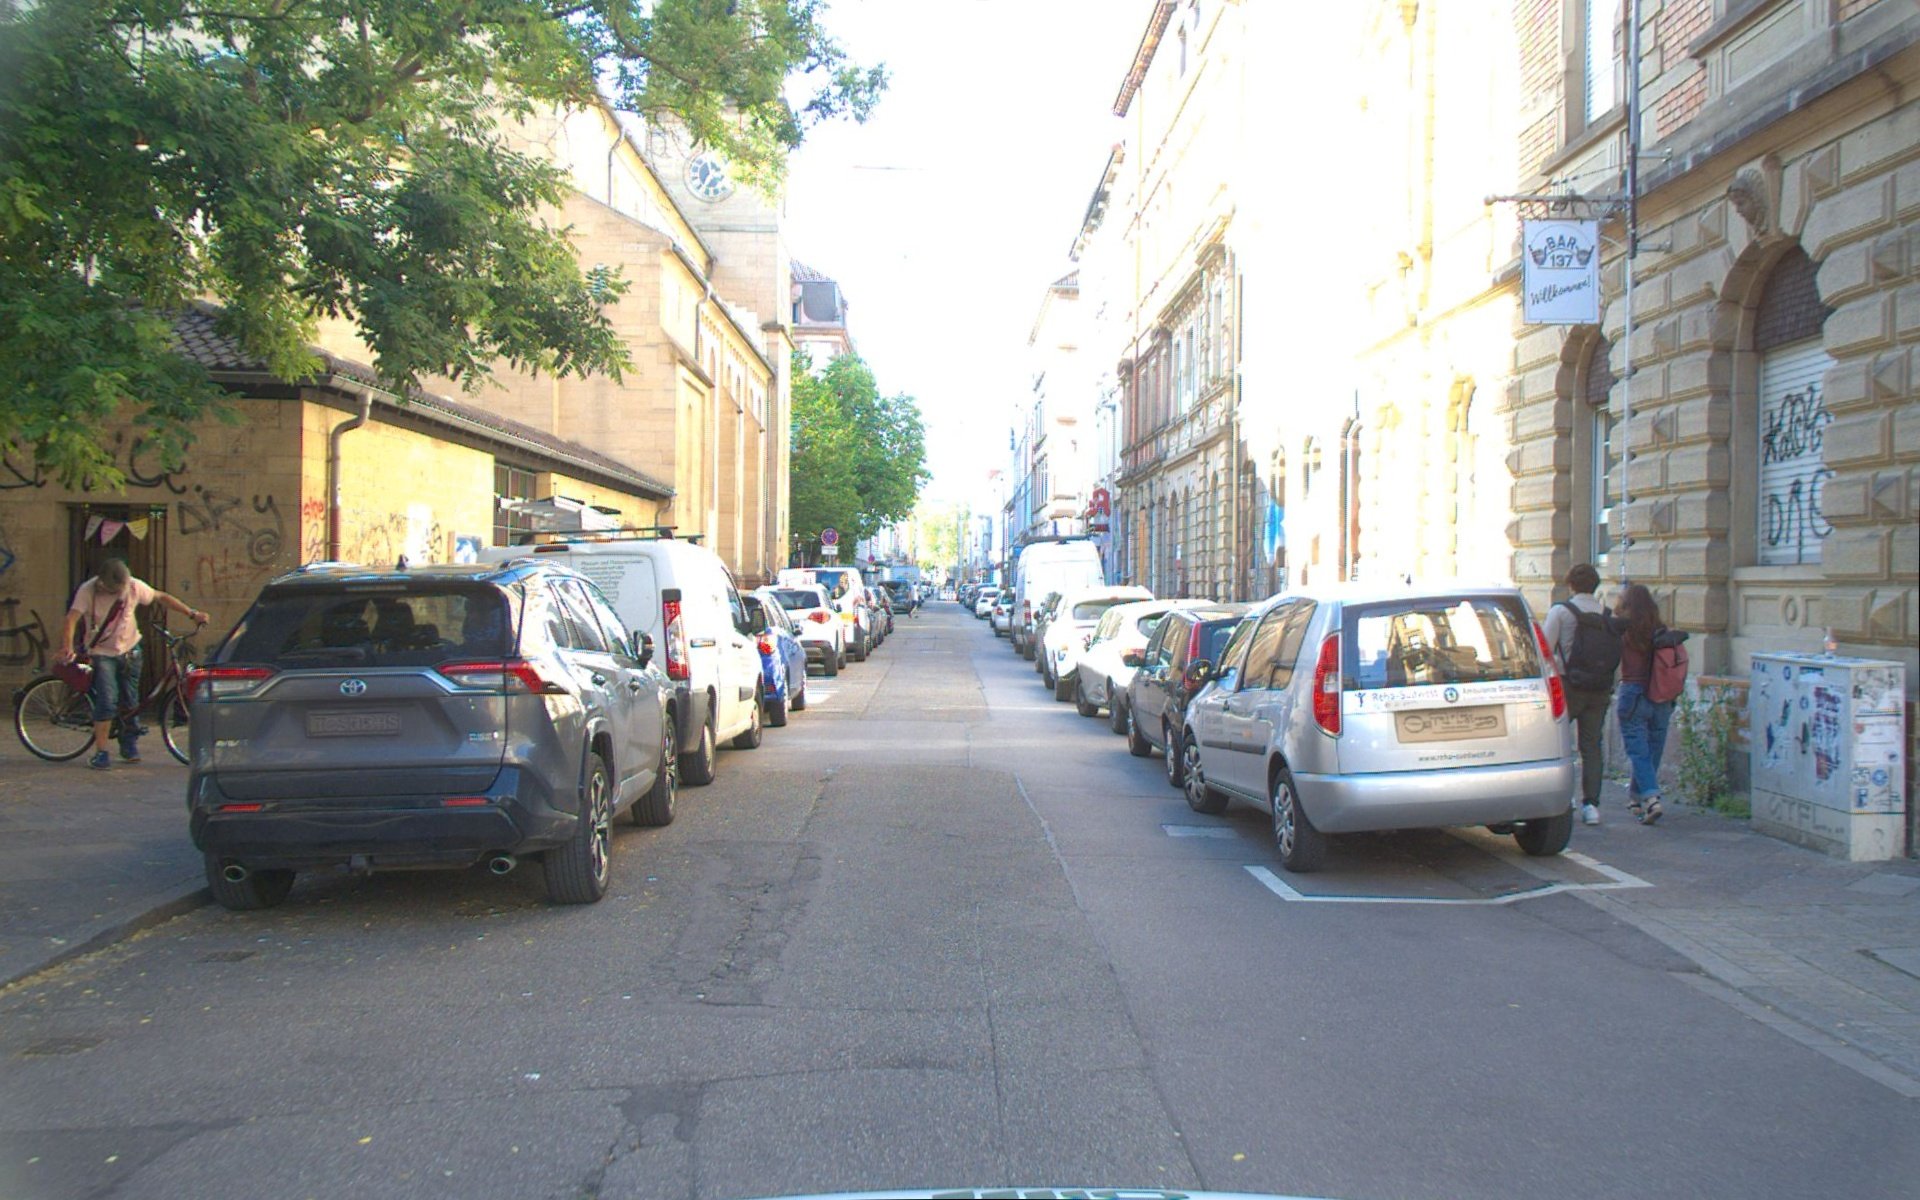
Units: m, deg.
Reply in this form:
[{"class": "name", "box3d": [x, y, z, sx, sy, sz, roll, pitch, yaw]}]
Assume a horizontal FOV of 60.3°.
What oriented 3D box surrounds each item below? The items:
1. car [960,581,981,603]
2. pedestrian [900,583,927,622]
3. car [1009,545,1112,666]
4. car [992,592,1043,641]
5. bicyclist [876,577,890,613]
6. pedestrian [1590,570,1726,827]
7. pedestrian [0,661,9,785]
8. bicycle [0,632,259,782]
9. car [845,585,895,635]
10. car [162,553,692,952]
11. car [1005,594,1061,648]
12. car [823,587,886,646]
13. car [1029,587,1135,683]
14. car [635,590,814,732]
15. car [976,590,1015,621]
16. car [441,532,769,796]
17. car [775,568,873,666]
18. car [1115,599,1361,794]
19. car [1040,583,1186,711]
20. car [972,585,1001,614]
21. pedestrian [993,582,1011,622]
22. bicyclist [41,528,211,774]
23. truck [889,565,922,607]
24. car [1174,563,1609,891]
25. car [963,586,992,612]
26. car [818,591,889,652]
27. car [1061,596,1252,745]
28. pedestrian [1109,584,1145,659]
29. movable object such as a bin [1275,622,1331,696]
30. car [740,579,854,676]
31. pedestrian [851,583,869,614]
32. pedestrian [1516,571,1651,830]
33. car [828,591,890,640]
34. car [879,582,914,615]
[{"class": "car", "box3d": [1.021, -0.775, 161.070, 1.953, 2.049, 4.000, 1, 0, 0]}, {"class": "pedestrian", "box3d": [-2.309, 0.117, 82.146, 1.004, 1.875, 0.772, 2, 0, -45]}, {"class": "car", "box3d": [2.347, 0.084, 40.125, 2.026, 2.656, 5.887, 2, 1, 0]}, {"class": "car", "box3d": [1.916, 0.520, 56.097, 1.571, 1.531, 4.000, 3, 0, 1]}, {"class": "bicyclist", "box3d": [-3.743, -0.225, 80.213, 0.593, 1.717, 0.885, 1, 0, -1]}, {"class": "pedestrian", "box3d": [4.619, 0.624, 10.979, 0.562, 1.650, 0.734, 0, 1, -3]}, {"class": "pedestrian", "box3d": [-6.718, 0.811, 10.692, 0.904, 0.792, 0.697, 1, 0, -25]}, {"class": "bicycle", "box3d": [-6.381, 0.789, 12.551, 1.724, 0.939, 0.827, 4, 1, 8]}, {"class": "car", "box3d": [-3.072, 0.330, 57.198, 1.567, 1.642, 3.807, -1, 0, -1]}, {"class": "car", "box3d": [-2.608, 0.632, 9.180, 1.706, 1.675, 4.287, 1, 0, -3]}, {"class": "car", "box3d": [2.224, 0.610, 51.255, 1.537, 1.521, 3.653, 3, 0, 0]}, {"class": "car", "box3d": [-2.956, 0.438, 46.977, 1.639, 1.586, 3.999, 0, 0, -1]}, {"class": "car", "box3d": [2.261, 0.607, 31.542, 1.653, 1.671, 3.924, 1, 0, -1]}, {"class": "car", "box3d": [-2.724, 0.651, 19.896, 1.653, 1.502, 3.859, -1, 1, -1]}, {"class": "car", "box3d": [1.774, 0.265, 84.576, 1.859, 1.514, 3.869, 1, 0, 0]}, {"class": "car", "box3d": [-2.853, 0.436, 14.322, 1.807, 1.894, 4.465, 1, 1, 0]}, {"class": "car", "box3d": [-2.904, 0.332, 36.172, 1.826, 1.991, 4.609, 0, 0, -1]}, {"class": "car", "box3d": [2.431, 0.790, 15.278, 1.504, 1.539, 3.680, 0, 1, -2]}, {"class": "car", "box3d": [2.262, 0.667, 25.463, 1.771, 1.719, 4.214, 3, 0, 0]}, {"class": "car", "box3d": [1.643, -0.034, 105.079, 1.733, 1.771, 4.000, 1, 1, 0]}, {"class": "pedestrian", "box3d": [2.022, 0.095, 79.464, 0.669, 1.875, 0.692, 2, 0, -12]}, {"class": "bicyclist", "box3d": [-6.310, 0.374, 12.537, 0.788, 1.753, 0.692, 4, 0, 8]}, {"class": "truck", "box3d": [-4.396, -1.133, 134.747, 2.480, 3.339, 6.994, 1, 0, 0]}, {"class": "car", "box3d": [2.568, 0.663, 10.821, 1.669, 1.744, 3.936, 0, 1, -2]}, {"class": "car", "box3d": [1.257, -0.096, 118.623, 1.953, 1.660, 4.000, 4, 0, 0]}, {"class": "car", "box3d": [-2.681, 0.521, 42.380, 1.582, 1.477, 3.950, 0, 0, -1]}, {"class": "car", "box3d": [2.312, 0.785, 20.399, 1.541, 1.551, 3.905, 4, 0, -4]}, {"class": "pedestrian", "box3d": [4.102, 0.512, 40.681, 0.628, 1.803, 0.677, 3, 0, -10]}, {"class": "movable object such as a bin", "box3d": [5.155, 0.885, 24.885, 0.543, 1.071, 0.596, -2, 1, -34]}, {"class": "car", "box3d": [-2.930, 0.465, 30.387, 1.707, 1.614, 3.868, 2, 0, -1]}, {"class": "pedestrian", "box3d": [-5.413, -0.067, 89.754, 0.910, 1.666, 0.806, 1, 0, 0]}, {"class": "pedestrian", "box3d": [4.049, 0.627, 10.786, 0.579, 1.632, 0.727, 0, 1, -3]}, {"class": "car", "box3d": [-3.152, 0.468, 52.285, 1.537, 1.422, 3.809, -2, 0, 2]}, {"class": "car", "box3d": [-3.677, -0.117, 96.559, 1.837, 1.828, 4.000, 1, 0, 0]}]
